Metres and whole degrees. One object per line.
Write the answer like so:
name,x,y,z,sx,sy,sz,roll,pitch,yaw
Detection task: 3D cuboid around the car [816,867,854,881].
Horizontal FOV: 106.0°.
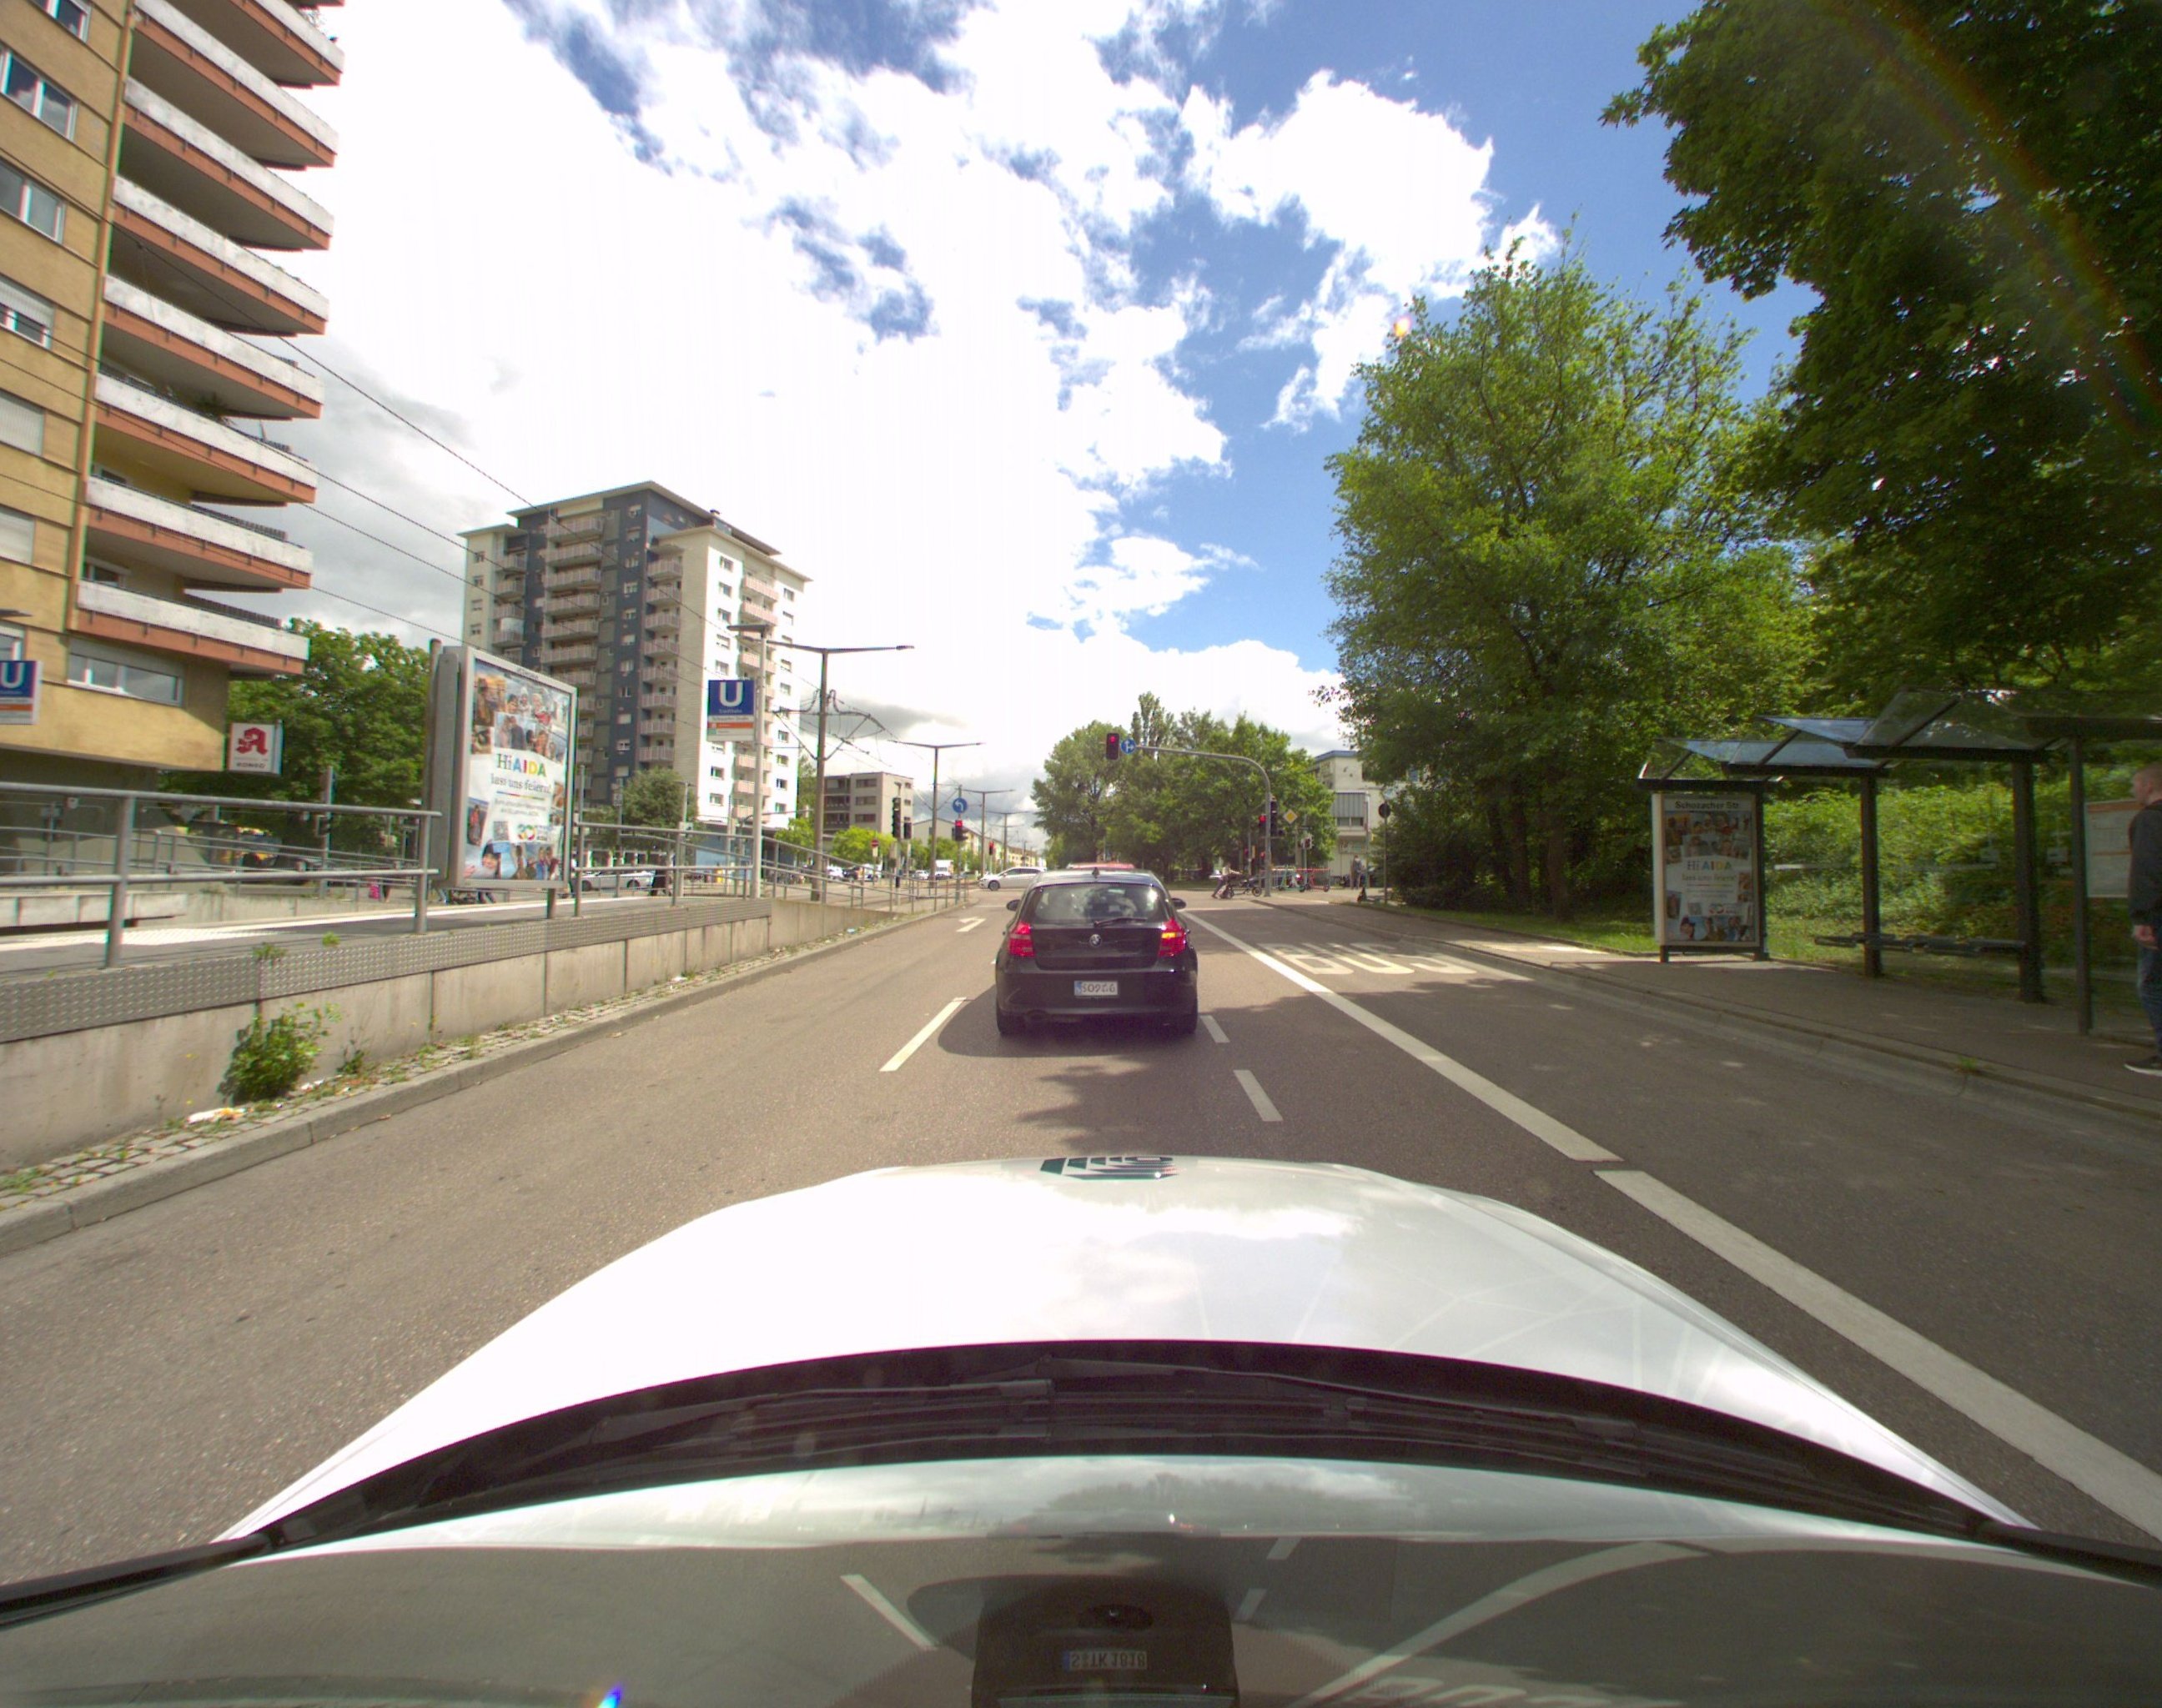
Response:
car,-26.416,2.162,87.438,3.600,1.462,1.612,-1,-1,-7

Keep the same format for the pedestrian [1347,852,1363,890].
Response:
pedestrian,13.243,0.826,39.351,0.608,1.790,0.571,3,-1,20

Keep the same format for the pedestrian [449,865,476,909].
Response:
pedestrian,-19.110,1.014,25.163,0.660,1.343,0.558,-1,-1,44

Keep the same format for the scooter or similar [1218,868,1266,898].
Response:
scooter or similar,6.230,1.113,31.514,1.781,1.050,0.409,-2,0,-11

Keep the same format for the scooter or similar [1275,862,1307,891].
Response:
scooter or similar,8.951,0.963,34.741,1.290,1.189,0.383,-1,-1,-14

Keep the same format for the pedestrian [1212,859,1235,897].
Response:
pedestrian,5.586,0.933,31.936,0.859,1.442,0.801,-1,-1,10

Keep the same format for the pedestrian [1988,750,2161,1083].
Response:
pedestrian,6.557,0.350,4.884,0.798,1.895,1.271,-1,-1,3

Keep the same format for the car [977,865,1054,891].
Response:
car,-4.103,1.443,50.511,4.635,1.480,1.995,-1,-1,-8

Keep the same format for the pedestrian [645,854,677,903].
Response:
pedestrian,-14.314,0.831,27.775,0.630,1.633,0.707,-2,-1,25

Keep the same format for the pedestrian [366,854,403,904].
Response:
pedestrian,-22.478,0.805,26.280,0.602,1.583,0.779,-1,-1,37

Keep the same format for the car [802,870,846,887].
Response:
car,-23.716,2.241,75.199,3.600,1.462,1.612,-1,-1,-7

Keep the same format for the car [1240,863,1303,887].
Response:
car,12.158,1.307,52.009,3.600,1.462,1.612,-1,-1,-7

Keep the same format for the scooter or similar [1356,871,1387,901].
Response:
scooter or similar,10.808,1.171,30.253,1.153,1.099,0.329,0,-1,-22

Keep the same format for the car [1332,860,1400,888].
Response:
car,17.372,1.200,49.748,3.578,1.601,1.705,0,-1,-11

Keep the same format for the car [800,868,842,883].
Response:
car,-25.663,2.122,80.446,3.600,1.462,1.612,-1,-1,-7

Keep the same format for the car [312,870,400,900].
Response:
car,-44.112,1.873,49.607,3.674,1.680,1.742,-1,-1,-3

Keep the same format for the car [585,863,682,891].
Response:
car,-26.334,1.354,48.044,4.571,1.526,1.939,-1,0,-9

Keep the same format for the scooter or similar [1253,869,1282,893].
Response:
scooter or similar,7.672,1.102,33.464,1.121,0.957,0.299,-1,-1,-14

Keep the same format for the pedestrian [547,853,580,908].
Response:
pedestrian,-16.337,0.826,25.711,0.864,1.696,0.682,0,-1,-35

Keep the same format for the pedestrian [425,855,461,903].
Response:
pedestrian,-21.228,0.828,27.099,0.850,1.578,0.627,-1,-1,25

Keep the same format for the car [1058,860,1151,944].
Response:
car,0.480,0.840,15.684,1.588,1.419,3.519,-1,0,2

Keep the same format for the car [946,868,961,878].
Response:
car,-21.692,3.293,139.132,1.960,1.596,3.999,0,0,0

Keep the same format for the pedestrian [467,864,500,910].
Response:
pedestrian,-18.078,0.974,24.650,0.691,1.343,0.852,0,-1,-29

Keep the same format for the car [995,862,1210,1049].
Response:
car,0.271,0.801,8.041,1.647,1.419,3.520,-1,0,4

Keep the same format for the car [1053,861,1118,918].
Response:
car,0.132,0.922,22.538,1.649,1.419,3.516,0,0,0

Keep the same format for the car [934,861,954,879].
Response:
car,-21.095,2.483,125.972,2.132,2.640,5.358,0,0,0

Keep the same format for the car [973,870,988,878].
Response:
car,-19.507,3.893,158.621,1.955,1.596,4.010,0,0,9

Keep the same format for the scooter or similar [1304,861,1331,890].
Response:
scooter or similar,10.320,0.941,35.513,1.107,1.258,0.331,-1,-1,-10

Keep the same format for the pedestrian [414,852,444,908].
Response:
pedestrian,-20.579,0.804,25.690,0.685,1.706,0.817,0,-1,-42
